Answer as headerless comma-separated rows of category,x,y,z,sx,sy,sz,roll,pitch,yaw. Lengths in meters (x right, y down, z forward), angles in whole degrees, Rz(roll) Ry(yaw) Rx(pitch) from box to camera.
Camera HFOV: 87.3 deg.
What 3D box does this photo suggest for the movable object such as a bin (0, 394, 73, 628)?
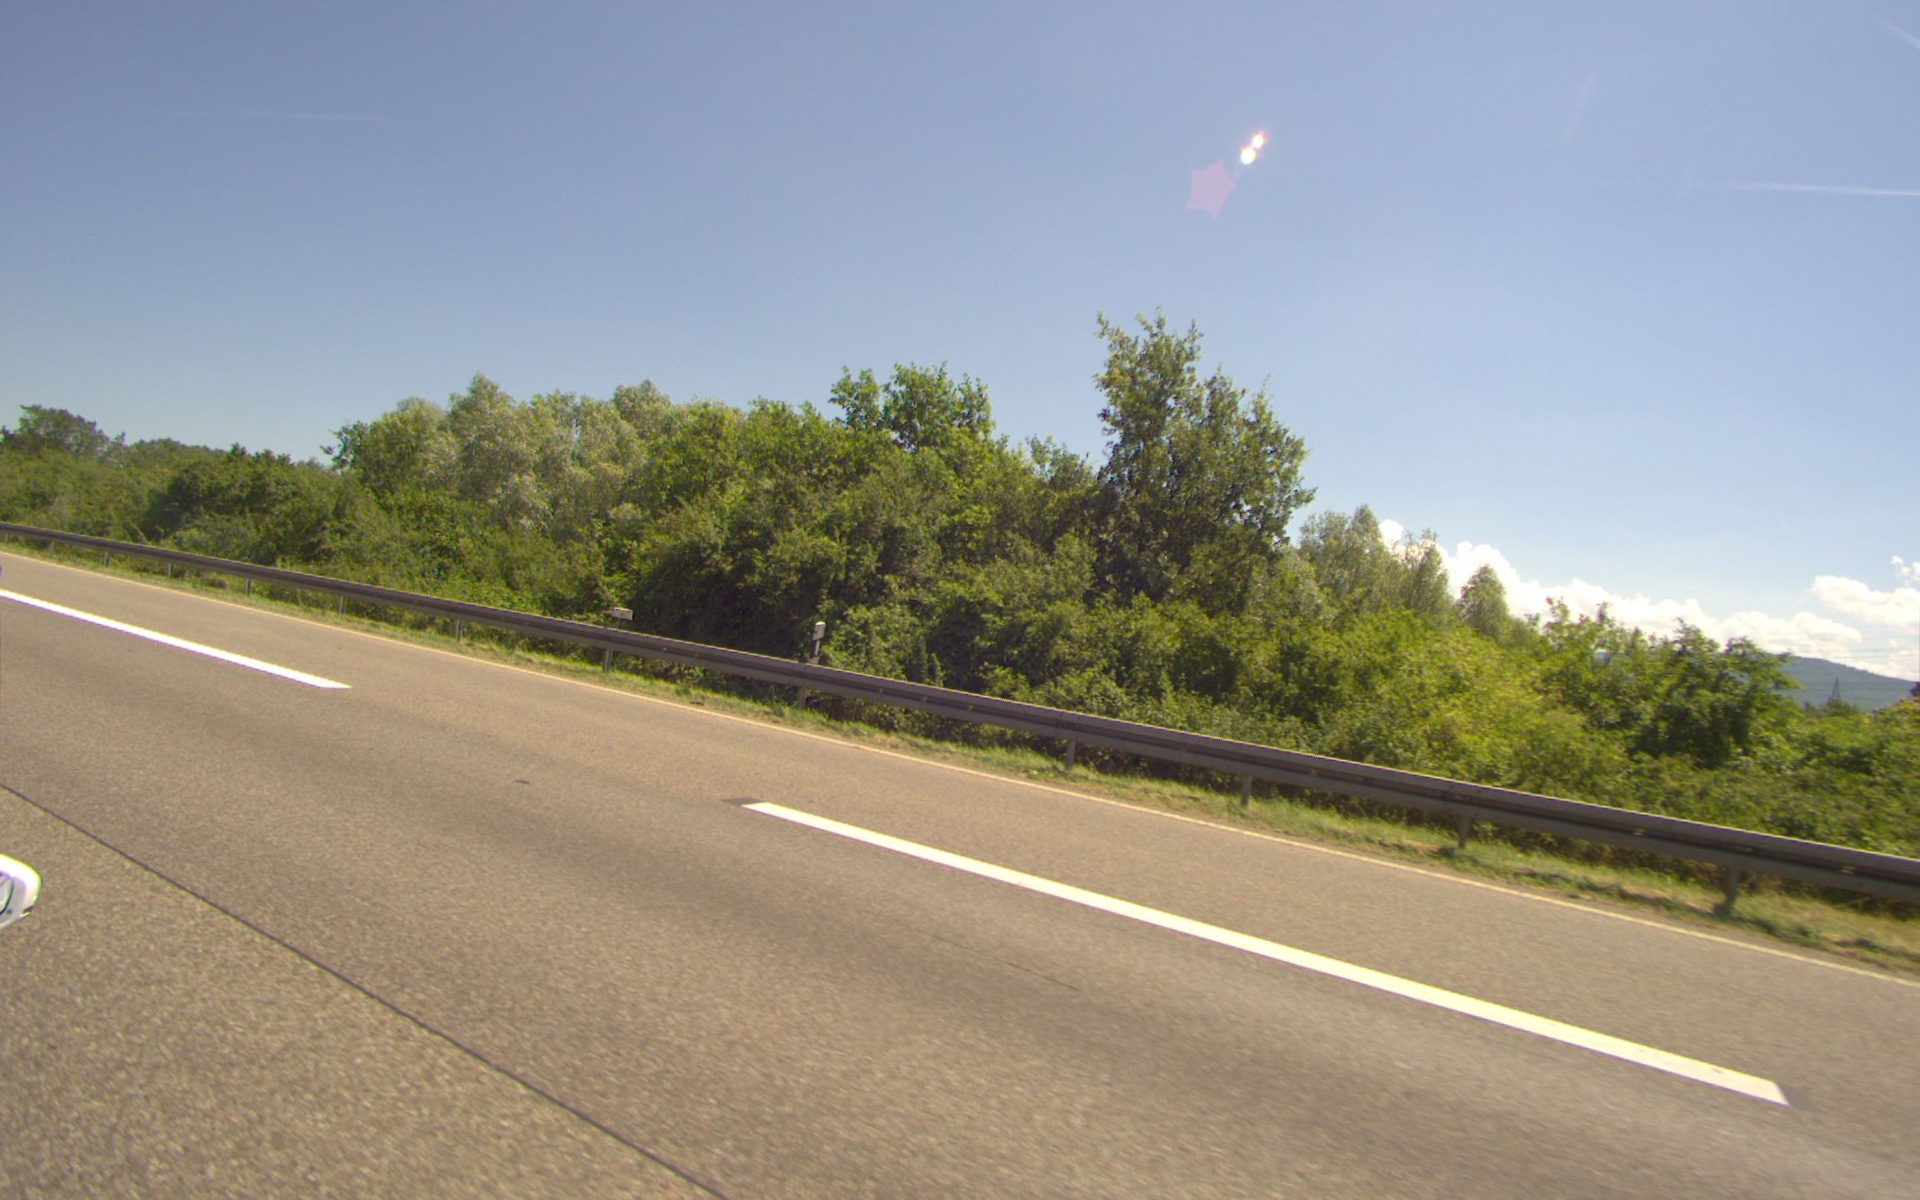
movable object such as a bin,-14.146,-1.381,13.254,4.682,2.848,2.178,6,-1,32
